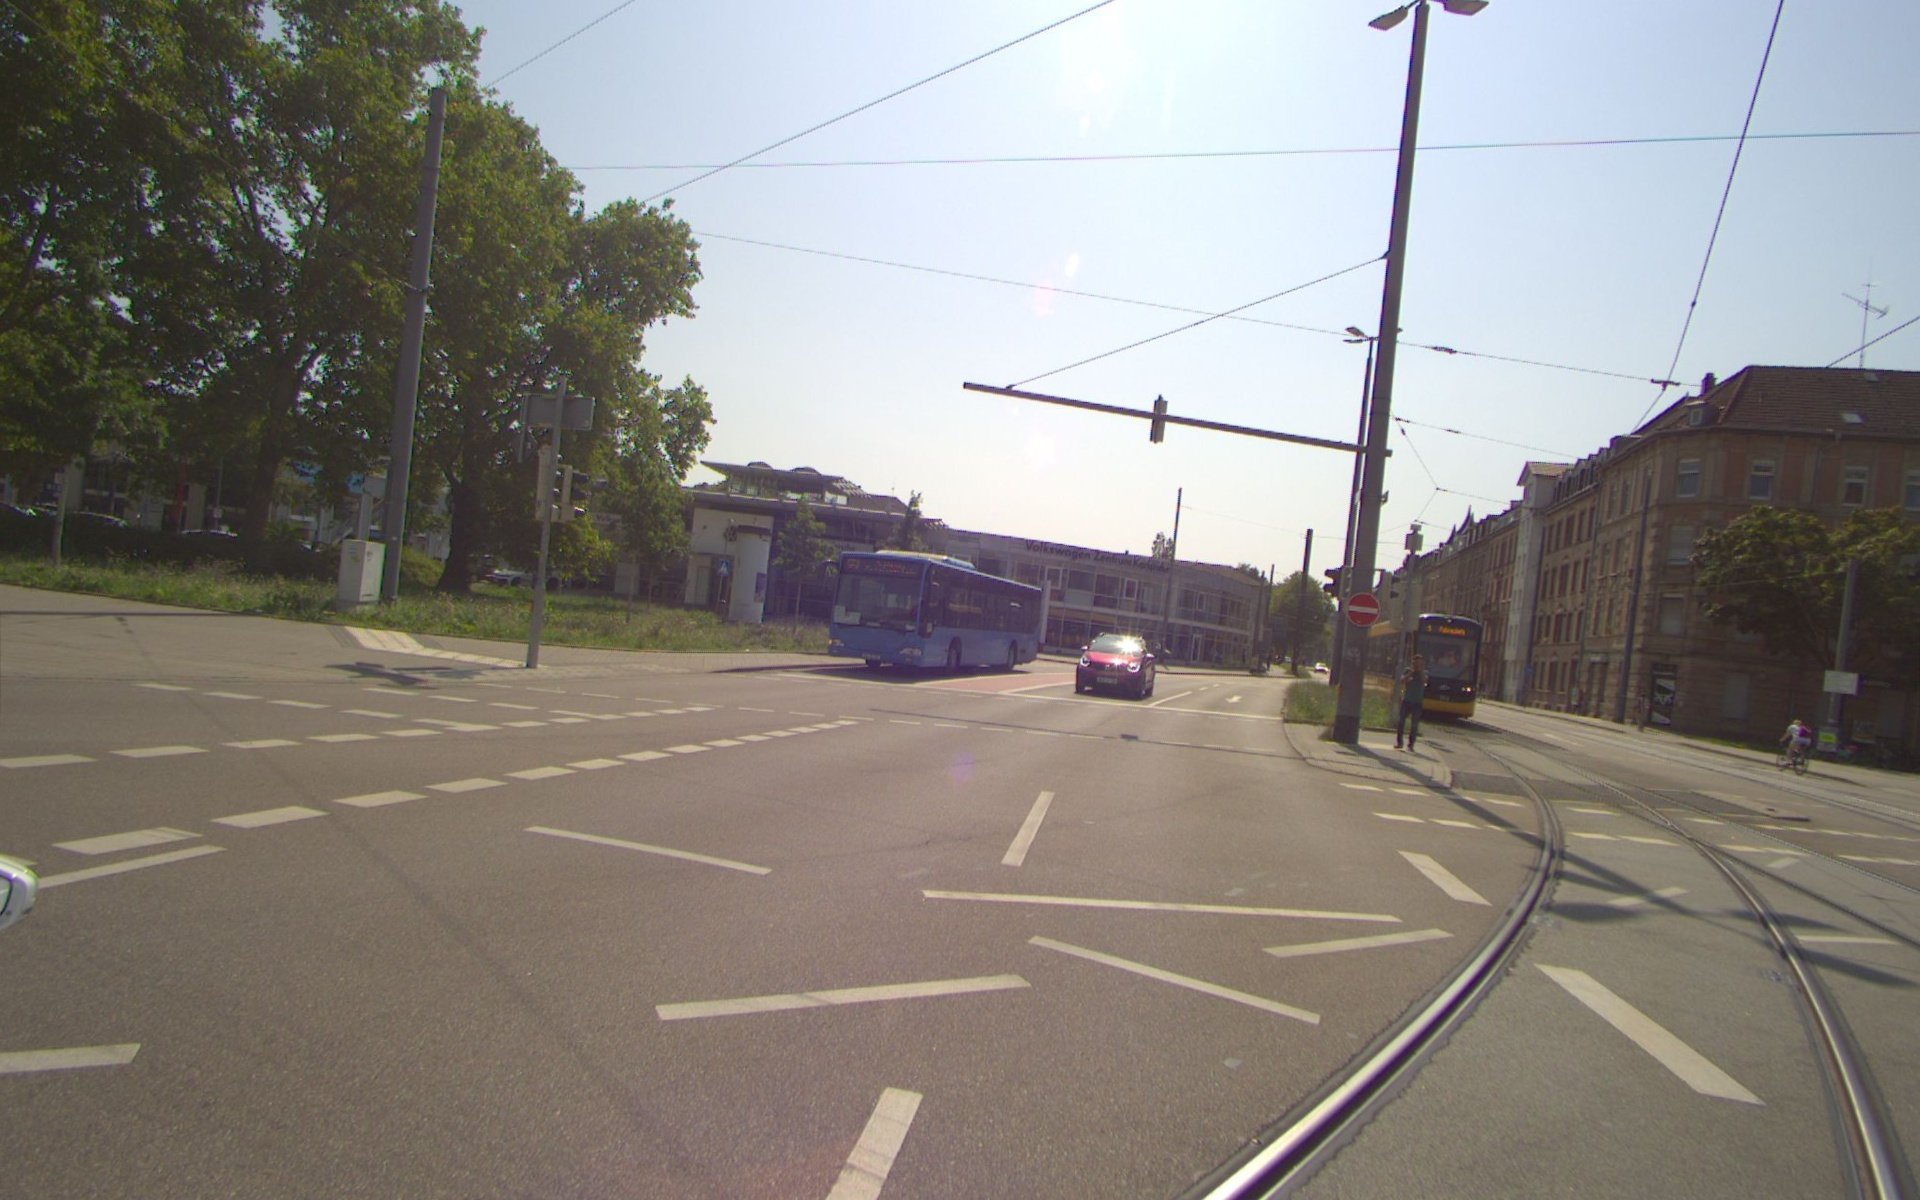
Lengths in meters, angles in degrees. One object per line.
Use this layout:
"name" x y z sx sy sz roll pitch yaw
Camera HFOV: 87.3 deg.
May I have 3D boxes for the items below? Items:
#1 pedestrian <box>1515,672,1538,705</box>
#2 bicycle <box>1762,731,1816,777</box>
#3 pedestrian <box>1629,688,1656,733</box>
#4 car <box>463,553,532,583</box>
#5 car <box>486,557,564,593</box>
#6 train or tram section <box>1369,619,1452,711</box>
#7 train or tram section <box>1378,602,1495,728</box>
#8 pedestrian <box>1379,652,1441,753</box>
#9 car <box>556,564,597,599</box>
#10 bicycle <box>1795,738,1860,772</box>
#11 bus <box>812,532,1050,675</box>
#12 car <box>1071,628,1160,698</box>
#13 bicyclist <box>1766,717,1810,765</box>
"pedestrian" 37.435 5.816 66.523 0.826 2.037 0.811 8 0 9
"bicycle" 24.822 4.592 30.148 0.433 1.125 1.644 7 -1 11
"pedestrian" 32.831 5.297 48.397 0.638 2.038 0.704 7 0 14
"car" -31.114 -2.146 67.801 1.962 1.526 4.002 7 -1 15
"car" -28.009 -1.589 64.860 1.689 1.774 4.249 7 -1 35
"train or tram section" 21.473 3.100 48.472 2.548 3.603 12.218 7 -1 21
"train or tram section" 17.178 2.357 37.052 2.548 3.603 12.218 7 -1 21
"pedestrian" 8.245 1.858 18.447 0.790 1.708 0.718 8 1 25
"car" -26.963 -1.344 70.829 2.303 2.037 6.777 9 -1 -21
"bicycle" 32.512 5.818 37.706 1.754 0.969 0.462 7 0 11
"bus" -0.225 0.405 29.624 2.683 3.101 12.087 7 -1 19
"car" 4.106 1.609 26.154 1.599 1.489 3.773 7 -1 17
"bicyclist" 24.873 4.231 30.223 0.646 1.269 0.644 7 0 7
